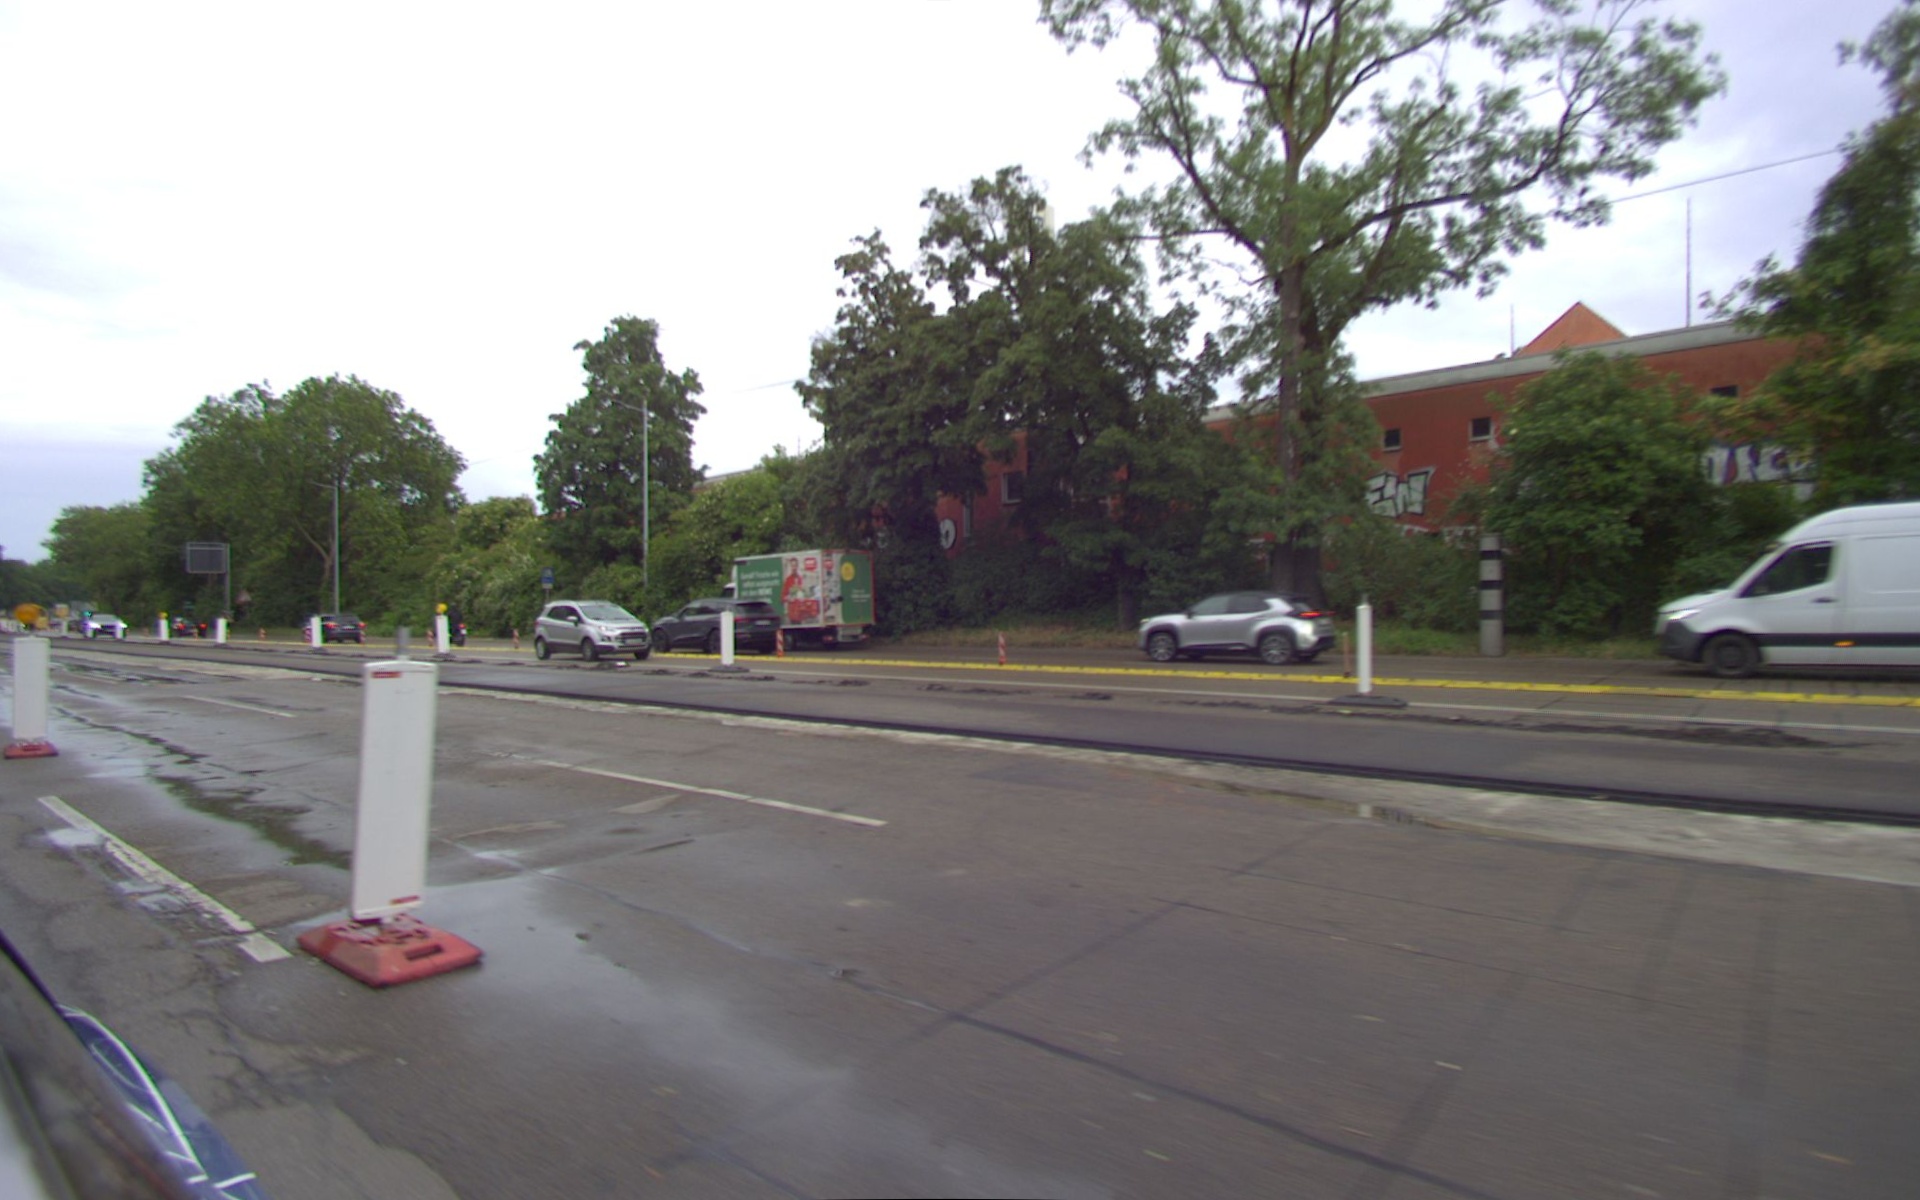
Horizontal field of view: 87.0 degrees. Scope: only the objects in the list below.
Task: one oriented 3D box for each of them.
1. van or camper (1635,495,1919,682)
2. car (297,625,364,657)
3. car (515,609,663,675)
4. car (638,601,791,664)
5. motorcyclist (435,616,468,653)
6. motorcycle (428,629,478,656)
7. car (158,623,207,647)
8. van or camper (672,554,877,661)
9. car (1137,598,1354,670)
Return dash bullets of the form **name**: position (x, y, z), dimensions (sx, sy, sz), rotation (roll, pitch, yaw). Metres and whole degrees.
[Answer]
- **van or camper**: position (14.256, -0.203, 14.224), dimensions (7.727, 2.574, 1.973), rotation (-1, 2, 42)
- **car**: position (-31.383, 2.031, 50.431), dimensions (4.105, 1.453, 1.670), rotation (-1, 1, 41)
- **car**: position (-10.207, 1.108, 27.702), dimensions (4.360, 1.575, 1.870), rotation (-1, 1, 40)
- **car**: position (-7.282, 0.923, 29.790), dimensions (4.804, 1.706, 1.973), rotation (-1, -1, 41)
- **motorcyclist**: position (-20.159, 1.355, 40.128), dimensions (0.975, 1.421, 0.805), rotation (-1, 1, 41)
- **motorcycle**: position (-20.072, 1.659, 40.046), dimensions (2.592, 0.996, 0.800), rotation (-1, 2, 41)
- **car**: position (-54.792, 2.462, 71.313), dimensions (4.395, 1.563, 1.869), rotation (-2, 0, 41)
- **van or camper**: position (-6.100, 0.237, 32.459), dimensions (7.447, 3.086, 2.274), rotation (-1, 0, 41)
- **car**: position (5.970, 0.681, 21.387), dimensions (4.077, 1.375, 1.698), rotation (-1, 0, 39)
